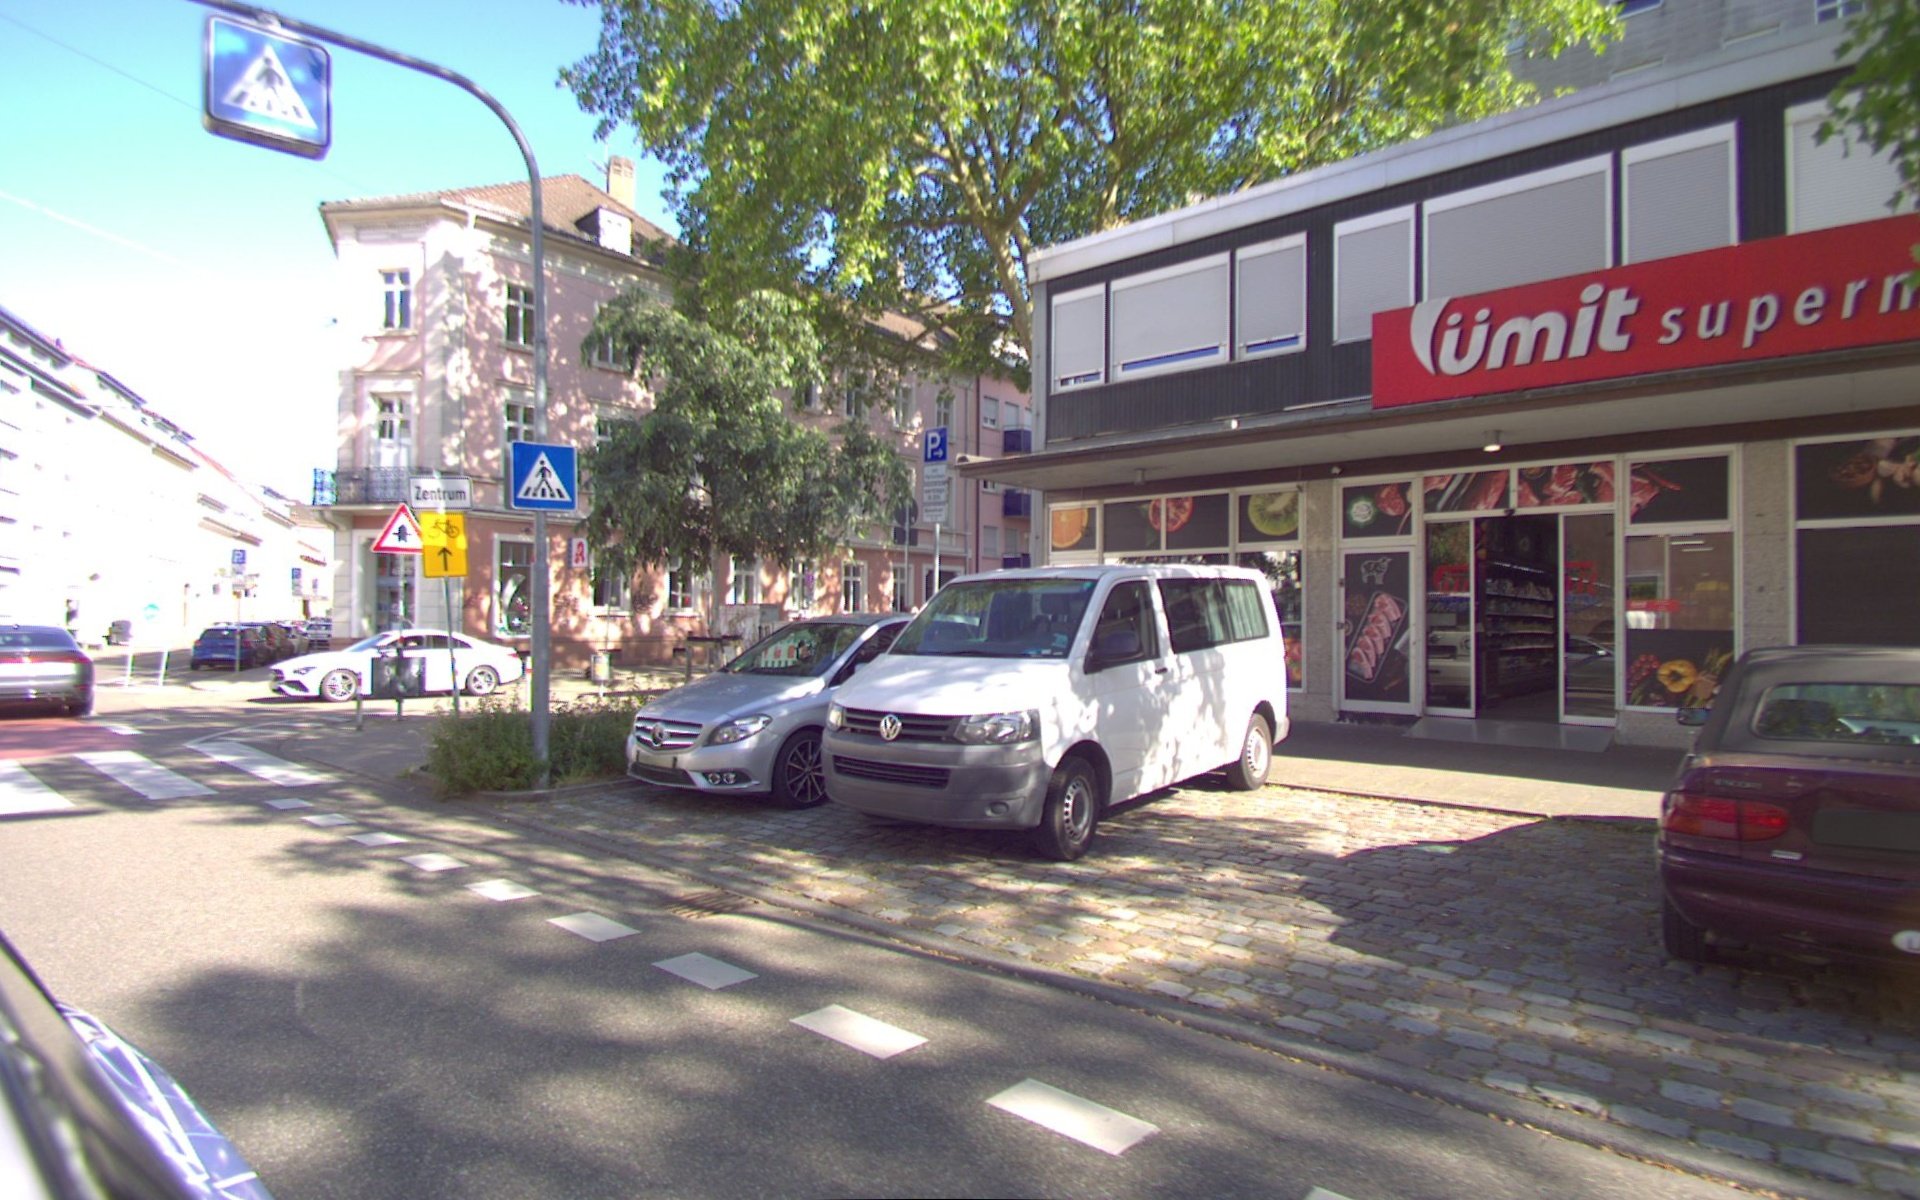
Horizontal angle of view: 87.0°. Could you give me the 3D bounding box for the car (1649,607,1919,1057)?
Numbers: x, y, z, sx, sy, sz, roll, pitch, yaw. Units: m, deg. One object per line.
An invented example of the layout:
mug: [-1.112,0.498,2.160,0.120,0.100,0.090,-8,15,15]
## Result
car: [4.667,0.815,4.973,1.716,1.505,3.989,-1,0,40]

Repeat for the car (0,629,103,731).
car: [-15.637,1.217,16.462,4.574,1.465,1.889,-1,-2,41]

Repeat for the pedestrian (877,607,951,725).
pedestrian: [-0.634,0.907,14.189,0.838,1.585,0.842,0,-2,14]

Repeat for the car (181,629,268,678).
car: [-24.562,1.756,33.906,1.677,1.444,3.651,3,-2,-26]

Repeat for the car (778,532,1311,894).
car: [0.991,0.622,8.108,1.957,2.021,4.683,-1,0,39]

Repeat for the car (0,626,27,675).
car: [-31.366,1.636,32.138,1.604,1.553,3.651,-1,-1,-26]

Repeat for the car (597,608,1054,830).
car: [-1.037,0.919,9.620,1.757,1.625,4.246,-1,-2,40]

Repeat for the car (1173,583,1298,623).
car: [10.602,0.162,39.118,4.409,1.474,1.580,-1,-1,36]

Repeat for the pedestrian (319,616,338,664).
pedestrian: [-25.125,1.583,40.262,0.561,1.870,0.709,-2,0,-29]

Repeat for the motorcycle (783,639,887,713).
motorcycle: [-2.178,1.291,17.418,1.921,1.189,0.661,-4,-3,42]

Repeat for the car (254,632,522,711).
car: [-11.744,1.414,21.022,1.863,1.468,4.498,-3,-4,43]

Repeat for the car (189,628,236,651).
car: [-46.257,2.424,62.676,1.677,1.309,3.651,1,-2,-26]

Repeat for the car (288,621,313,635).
car: [-65.885,2.811,101.150,1.677,1.309,3.651,1,-2,-26]
